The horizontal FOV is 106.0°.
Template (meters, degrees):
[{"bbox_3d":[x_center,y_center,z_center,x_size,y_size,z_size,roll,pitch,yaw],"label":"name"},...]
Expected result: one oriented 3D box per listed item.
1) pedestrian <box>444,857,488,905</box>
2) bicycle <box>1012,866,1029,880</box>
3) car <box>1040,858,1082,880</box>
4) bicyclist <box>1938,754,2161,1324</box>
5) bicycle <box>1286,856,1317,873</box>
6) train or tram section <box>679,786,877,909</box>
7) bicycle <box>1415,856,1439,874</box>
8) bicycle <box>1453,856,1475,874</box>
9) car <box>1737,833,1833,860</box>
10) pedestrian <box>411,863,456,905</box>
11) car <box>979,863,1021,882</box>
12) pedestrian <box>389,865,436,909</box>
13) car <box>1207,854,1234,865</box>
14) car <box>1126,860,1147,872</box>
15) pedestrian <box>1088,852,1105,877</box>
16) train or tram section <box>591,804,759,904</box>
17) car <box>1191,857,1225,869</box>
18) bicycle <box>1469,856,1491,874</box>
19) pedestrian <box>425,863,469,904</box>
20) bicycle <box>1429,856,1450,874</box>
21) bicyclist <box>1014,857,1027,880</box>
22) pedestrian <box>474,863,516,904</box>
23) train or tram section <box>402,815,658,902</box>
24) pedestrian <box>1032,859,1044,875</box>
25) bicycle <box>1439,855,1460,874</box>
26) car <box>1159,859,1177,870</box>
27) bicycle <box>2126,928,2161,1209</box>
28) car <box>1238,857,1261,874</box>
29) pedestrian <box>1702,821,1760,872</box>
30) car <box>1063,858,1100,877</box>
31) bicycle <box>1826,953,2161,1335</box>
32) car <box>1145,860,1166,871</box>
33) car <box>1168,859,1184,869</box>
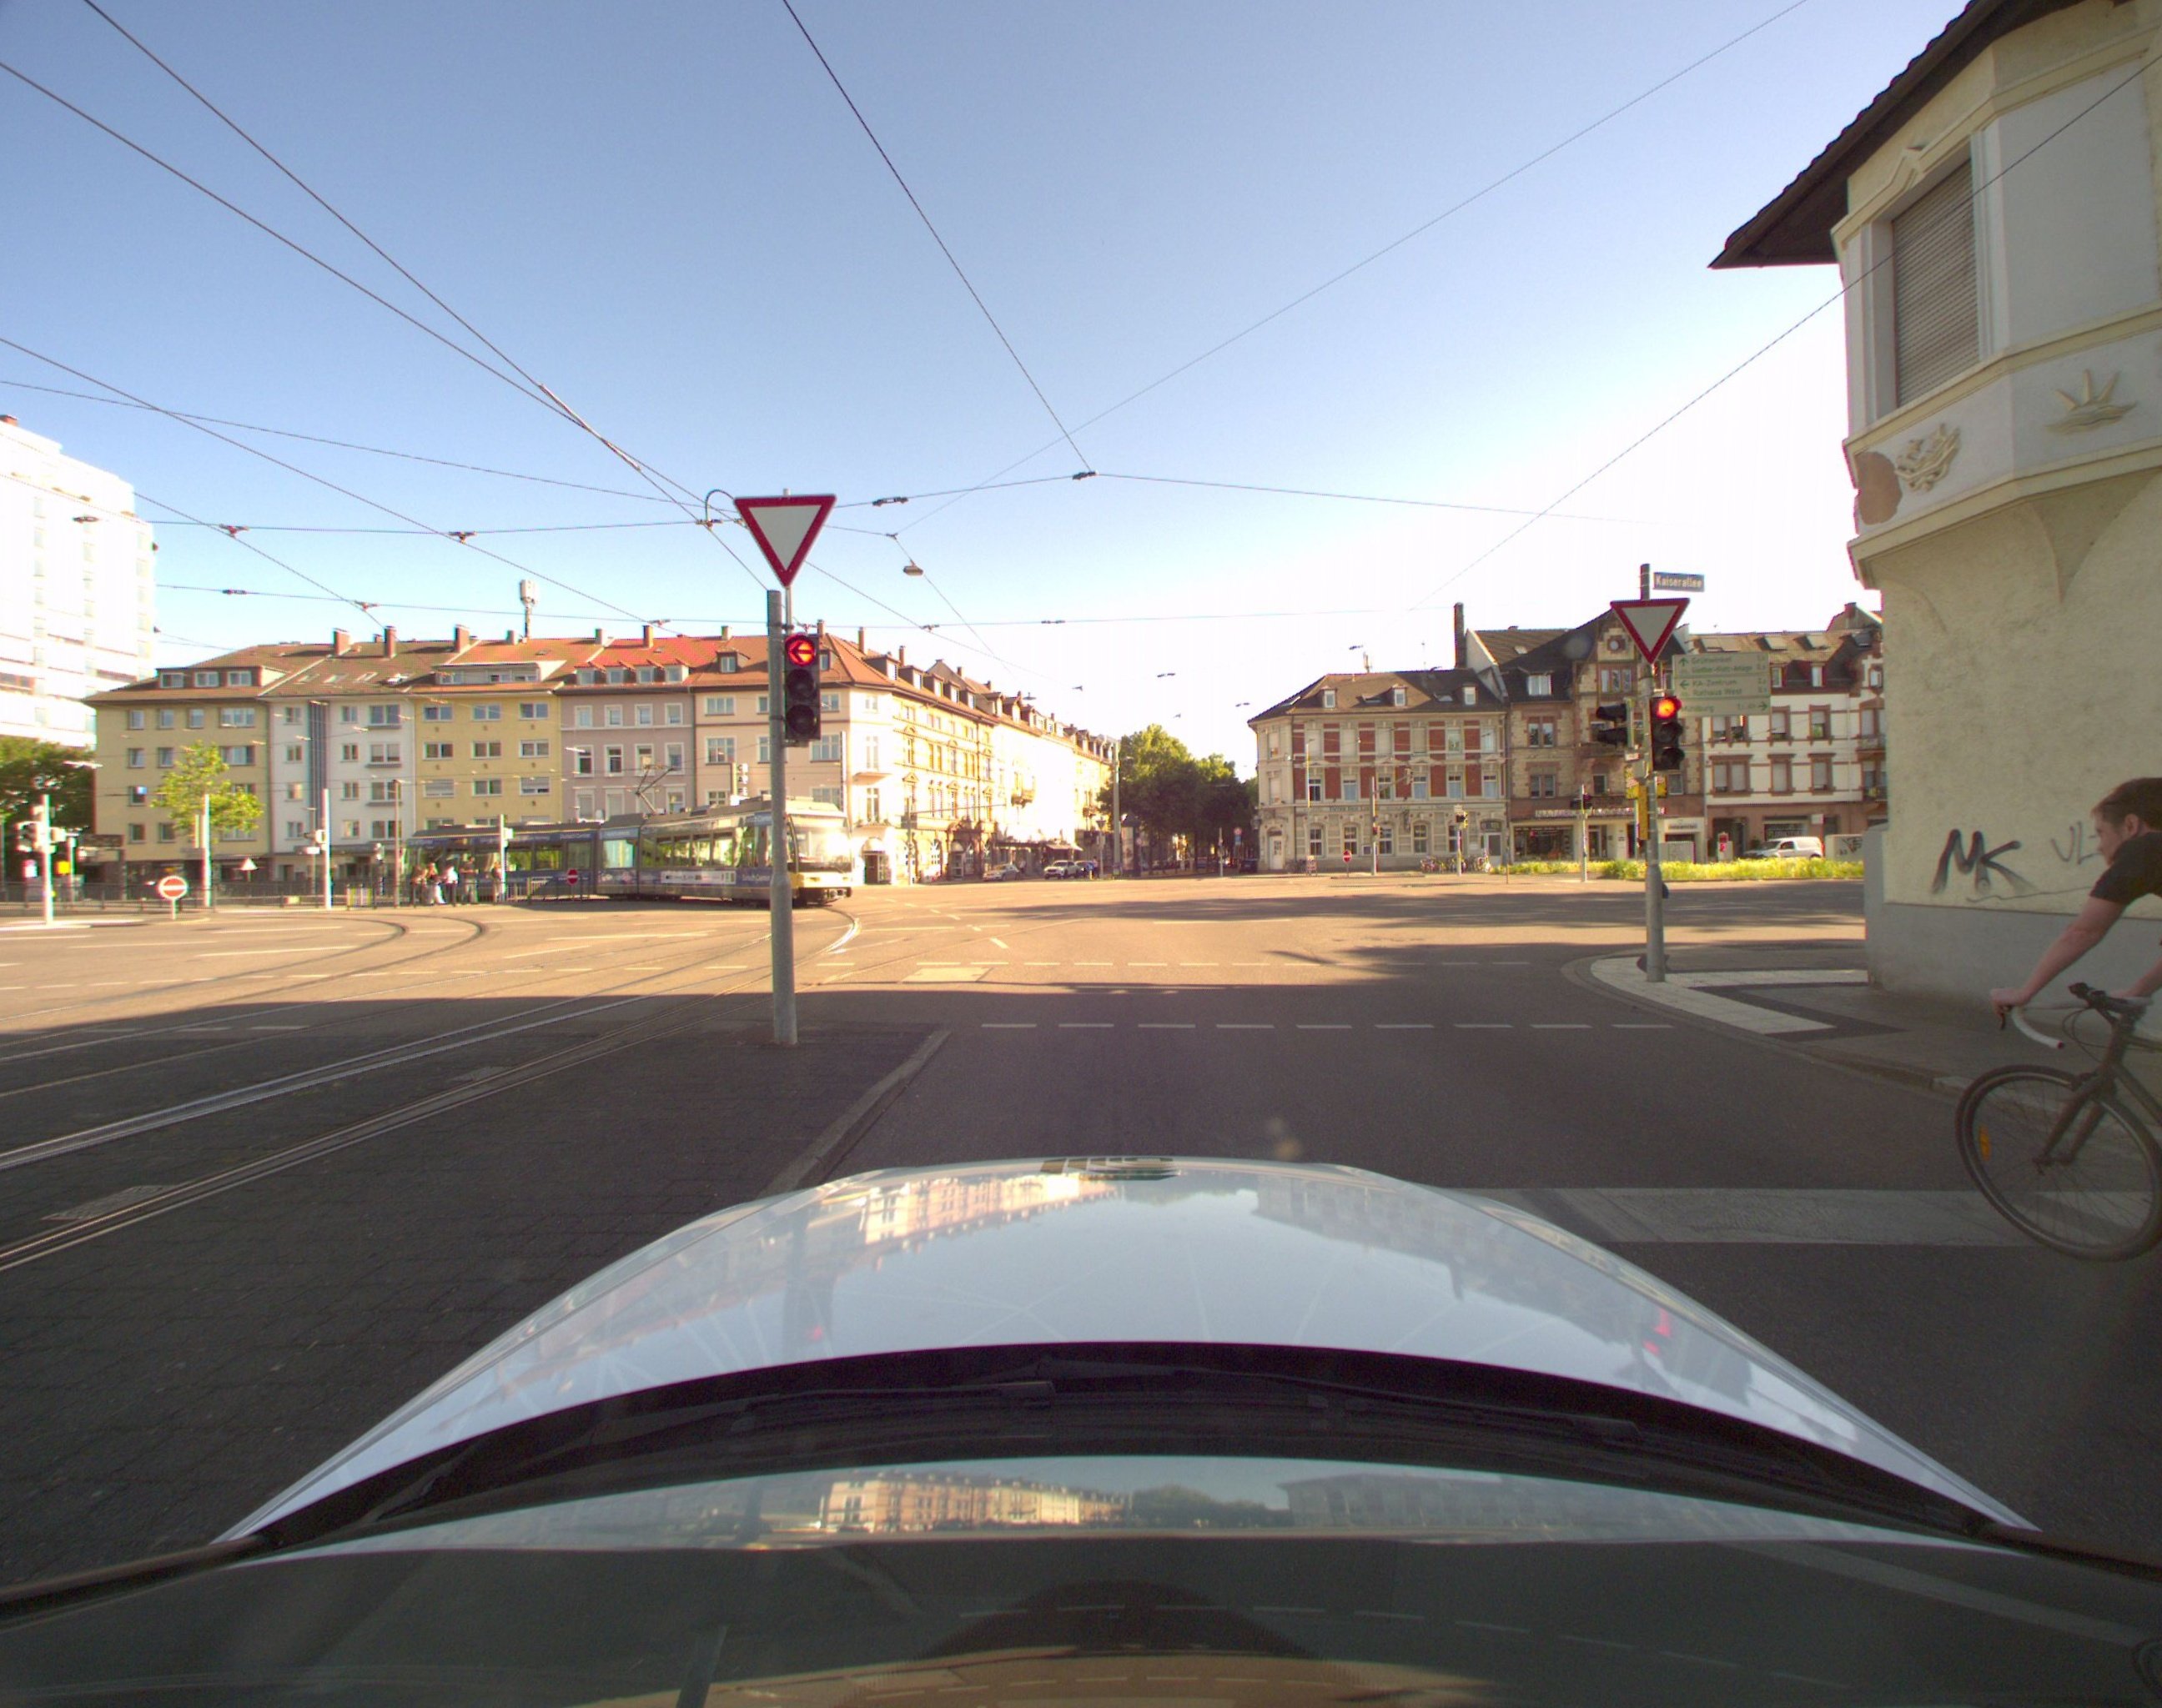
[{"bbox_3d":[-23.375,1.019,30.960,0.939,1.775,1.006,-1,0,-11],"label":"pedestrian"},{"bbox_3d":[-4.820,1.513,65.300,0.675,1.066,2.133,-2,0,14],"label":"bicycle"},{"bbox_3d":[-1.611,1.252,67.543,1.977,1.684,4.413,-2,0,20],"label":"car"},{"bbox_3d":[3.597,0.565,2.598,0.559,1.754,1.102,-2,0,4],"label":"bicyclist"},{"bbox_3d":[15.497,0.727,57.194,2.081,1.124,0.366,0,-1,-3],"label":"bicycle"},{"bbox_3d":[-10.159,-0.139,26.778,7.861,3.500,2.841,-1,0,43],"label":"train or tram section"},{"bbox_3d":[22.497,0.706,52.992,0.802,1.143,2.178,-2,0,7],"label":"bicycle"},{"bbox_3d":[24.775,0.715,52.695,0.615,1.143,2.178,-2,0,7],"label":"bicycle"},{"bbox_3d":[45.355,-0.472,52.560,4.317,1.640,2.152,-2,0,1],"label":"car"},{"bbox_3d":[-25.203,1.170,31.701,0.930,1.598,1.014,-2,0,20],"label":"pedestrian"},{"bbox_3d":[-6.686,1.522,67.385,1.883,1.455,4.020,-2,0,20],"label":"car"},{"bbox_3d":[-25.342,1.238,30.878,0.930,1.598,1.015,-2,0,22],"label":"pedestrian"},{"bbox_3d":[22.827,0.973,133.308,3.948,1.706,2.013,-2,0,32],"label":"car"},{"bbox_3d":[7.529,1.669,110.985,1.978,1.486,4.017,-1,0,16],"label":"car"},{"bbox_3d":[1.113,0.746,58.503,1.045,1.744,0.807,-1,0,-6],"label":"pedestrian"},{"bbox_3d":[-16.176,0.051,32.114,8.353,3.500,2.841,-1,0,41],"label":"train or tram section"},{"bbox_3d":[17.952,1.312,115.178,4.335,1.612,2.012,-2,0,28],"label":"car"},{"bbox_3d":[25.752,0.695,52.605,0.606,1.136,2.139,-2,0,7],"label":"bicycle"},{"bbox_3d":[-25.306,1.181,32.519,0.998,1.598,0.946,-2,0,18],"label":"pedestrian"},{"bbox_3d":[23.275,0.697,52.843,0.615,1.143,2.178,-2,0,7],"label":"bicycle"},{"bbox_3d":[-4.816,1.132,65.343,0.674,1.820,1.075,-2,0,14],"label":"bicyclist"},{"bbox_3d":[-23.242,1.164,32.308,0.997,1.598,0.946,-2,0,23],"label":"pedestrian"},{"bbox_3d":[-24.715,0.295,36.384,11.892,3.500,2.793,-1,0,19],"label":"train or tram section"},{"bbox_3d":[-4.433,1.323,83.906,0.921,1.535,1.142,-1,0,16],"label":"pedestrian"},{"bbox_3d":[23.855,0.677,52.790,0.615,1.143,2.178,-2,0,7],"label":"bicycle"},{"bbox_3d":[13.908,1.702,130.337,1.822,1.552,4.412,-2,0,19],"label":"car"},{"bbox_3d":[4.533,0.862,2.450,0.516,1.116,1.815,-2,0,4],"label":"bicycle"},{"bbox_3d":[17.012,1.144,82.221,1.978,1.585,4.017,-2,0,16],"label":"car"},{"bbox_3d":[27.111,-0.300,34.005,1.314,2.044,1.307,-2,0,1],"label":"pedestrian"},{"bbox_3d":[0.113,1.219,74.020,1.977,1.612,4.413,-2,0,20],"label":"car"},{"bbox_3d":[3.612,0.952,2.675,0.642,1.010,1.930,-2,0,4],"label":"bicycle"},{"bbox_3d":[11.250,1.732,122.605,1.977,1.612,4.413,-2,0,20],"label":"car"},{"bbox_3d":[15.826,1.722,136.172,1.750,1.549,4.411,-2,0,18],"label":"car"}]
